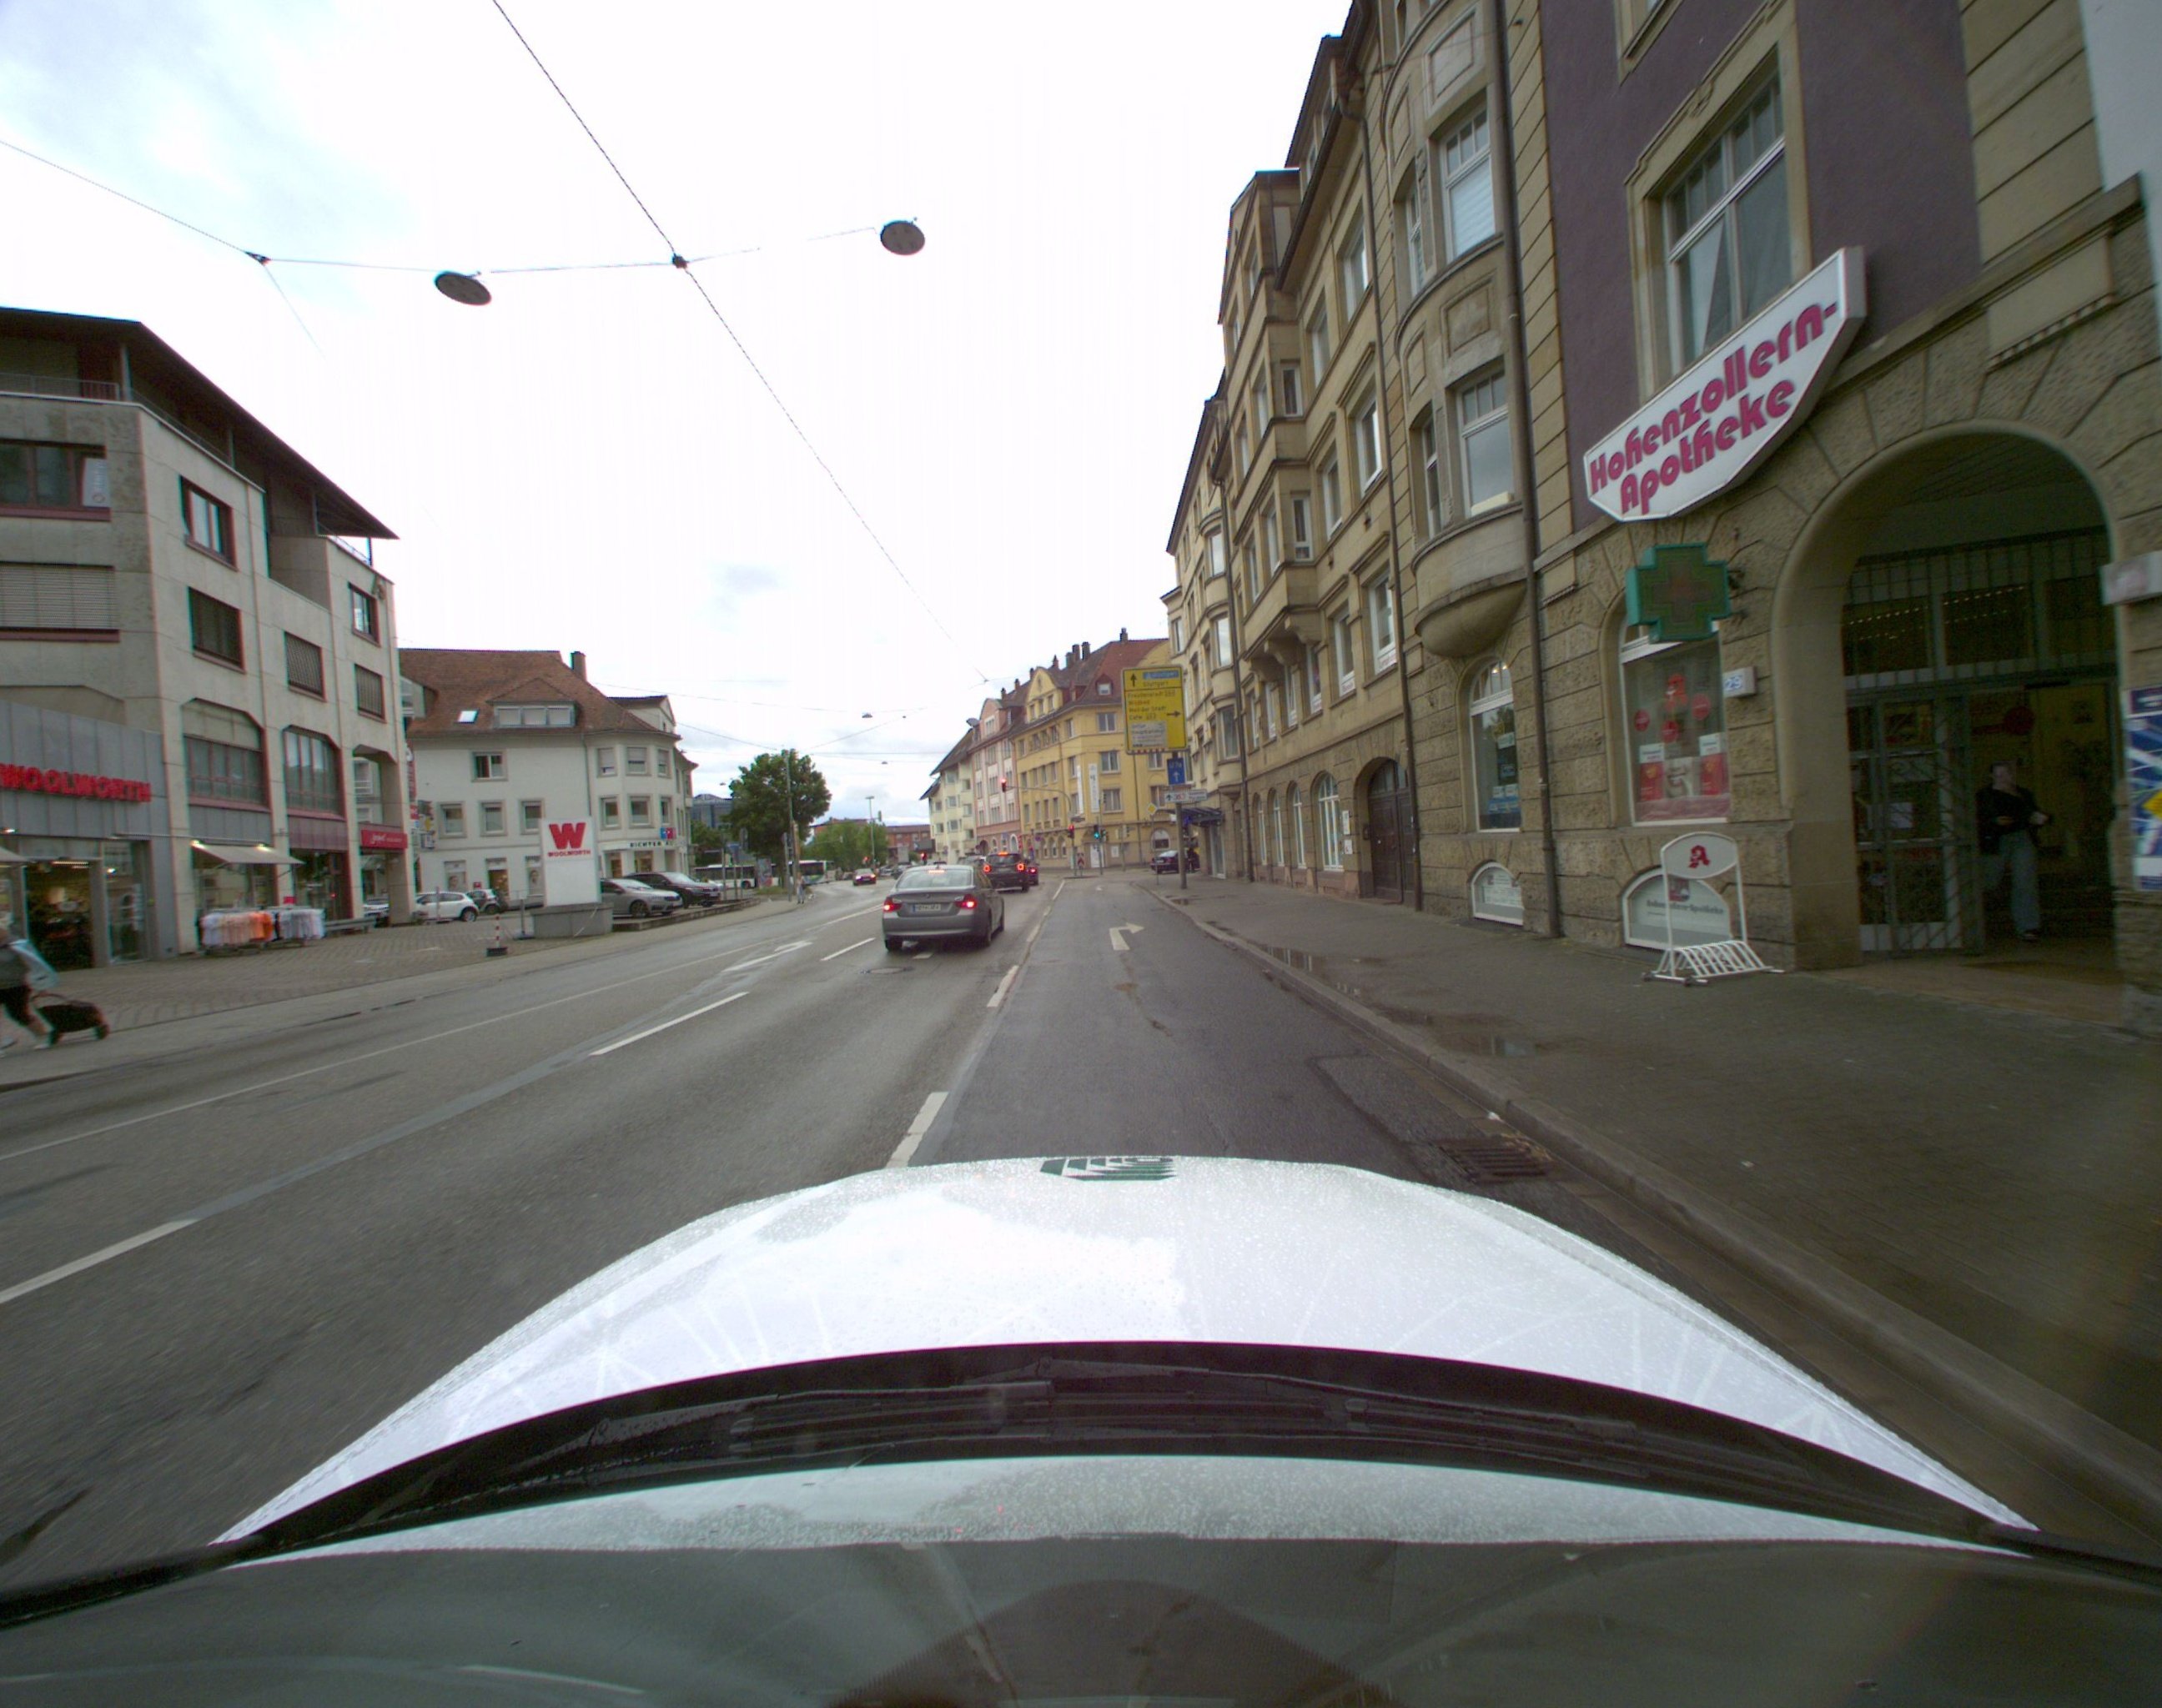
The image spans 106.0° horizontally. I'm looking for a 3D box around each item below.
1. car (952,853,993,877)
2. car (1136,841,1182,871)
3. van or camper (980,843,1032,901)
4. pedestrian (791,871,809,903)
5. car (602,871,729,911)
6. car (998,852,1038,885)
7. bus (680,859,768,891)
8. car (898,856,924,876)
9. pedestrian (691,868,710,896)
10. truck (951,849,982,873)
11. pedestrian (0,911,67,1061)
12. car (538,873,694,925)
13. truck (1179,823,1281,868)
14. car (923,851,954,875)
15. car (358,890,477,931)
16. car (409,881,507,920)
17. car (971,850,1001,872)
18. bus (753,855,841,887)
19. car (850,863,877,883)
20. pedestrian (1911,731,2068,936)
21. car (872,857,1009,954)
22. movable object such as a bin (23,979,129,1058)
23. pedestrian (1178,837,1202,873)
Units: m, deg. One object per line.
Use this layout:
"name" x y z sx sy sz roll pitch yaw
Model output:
"car" -9.154 0.954 68.194 2.006 1.815 3.962 -4 0 -29
"car" 4.568 0.135 48.488 1.798 1.563 3.989 -4 0 -8
"van or camper" -3.026 0.713 33.721 1.851 2.146 4.138 -3 0 -3
"pedestrian" -13.604 1.596 39.464 0.763 1.529 0.505 -2 -1 -21
"car" -17.596 1.558 34.569 4.393 1.506 1.958 -1 1 8
"car" -3.045 0.679 40.353 1.799 1.405 4.678 -3 0 -3
"bus" -41.805 2.435 95.592 8.813 3.105 2.918 -4 1 0
"car" -18.444 1.325 88.229 2.002 2.013 3.971 -4 1 -22
"pedestrian" -24.247 1.790 51.898 0.967 1.708 0.927 -4 1 -25
"truck" -12.396 0.763 87.844 2.036 2.389 4.201 -2 0 -25
"pedestrian" -12.736 1.554 9.637 0.745 1.685 0.752 -4 1 45
"car" -16.701 1.594 29.440 4.434 1.526 1.885 -3 0 -2
"truck" 11.120 -0.626 61.121 7.070 2.851 2.082 -4 0 -1
"car" -13.265 0.850 75.532 2.001 2.013 3.971 -4 1 -21
"car" -28.832 2.418 35.508 1.566 1.500 3.774 -4 -2 15
"car" -36.137 2.679 47.359 4.003 1.815 1.985 -4 1 -22
"car" -9.689 0.731 82.808 1.771 2.180 3.966 -1 0 -26
"bus" -33.164 1.989 95.272 9.068 3.105 2.923 -3 1 5
"car" -19.339 1.655 72.355 1.852 1.684 3.971 -2 0 -22
"pedestrian" 8.176 -0.171 7.374 0.665 1.720 0.907 -4 1 33
"car" -2.377 0.812 14.882 1.794 1.464 4.368 -1 0 -1
"movable object such as a bin" -12.666 2.048 10.292 0.745 0.788 0.738 -4 0 45
"pedestrian" 5.933 0.041 44.249 1.049 1.903 1.029 -4 1 16
